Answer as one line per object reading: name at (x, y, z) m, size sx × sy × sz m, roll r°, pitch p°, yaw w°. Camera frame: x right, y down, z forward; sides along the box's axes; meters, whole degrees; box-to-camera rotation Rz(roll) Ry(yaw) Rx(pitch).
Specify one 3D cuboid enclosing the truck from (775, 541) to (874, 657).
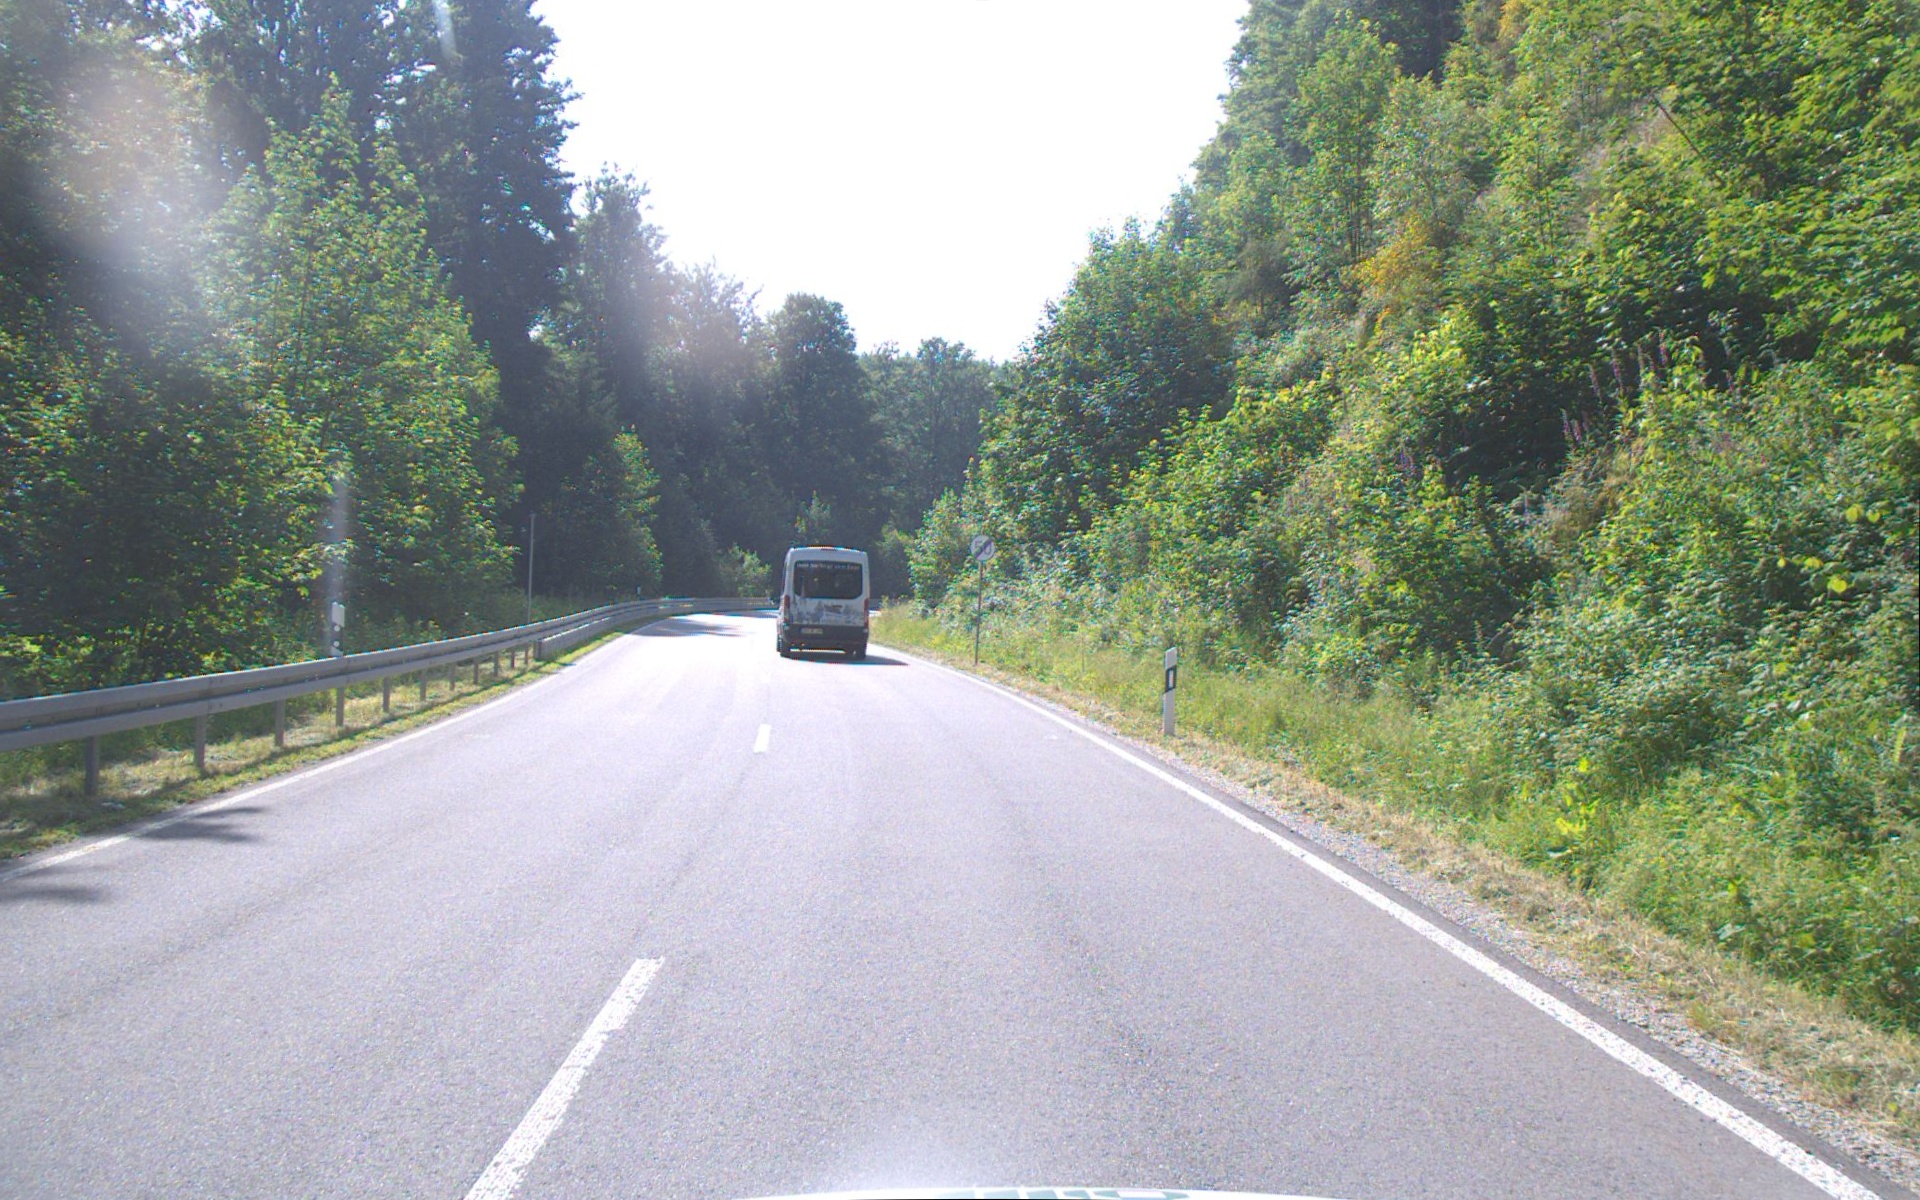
truck at (-3.305, -0.041, 39.389) m, size 2.075 × 2.542 × 5.350 m, roll 1°, pitch 0°, yaw -7°
